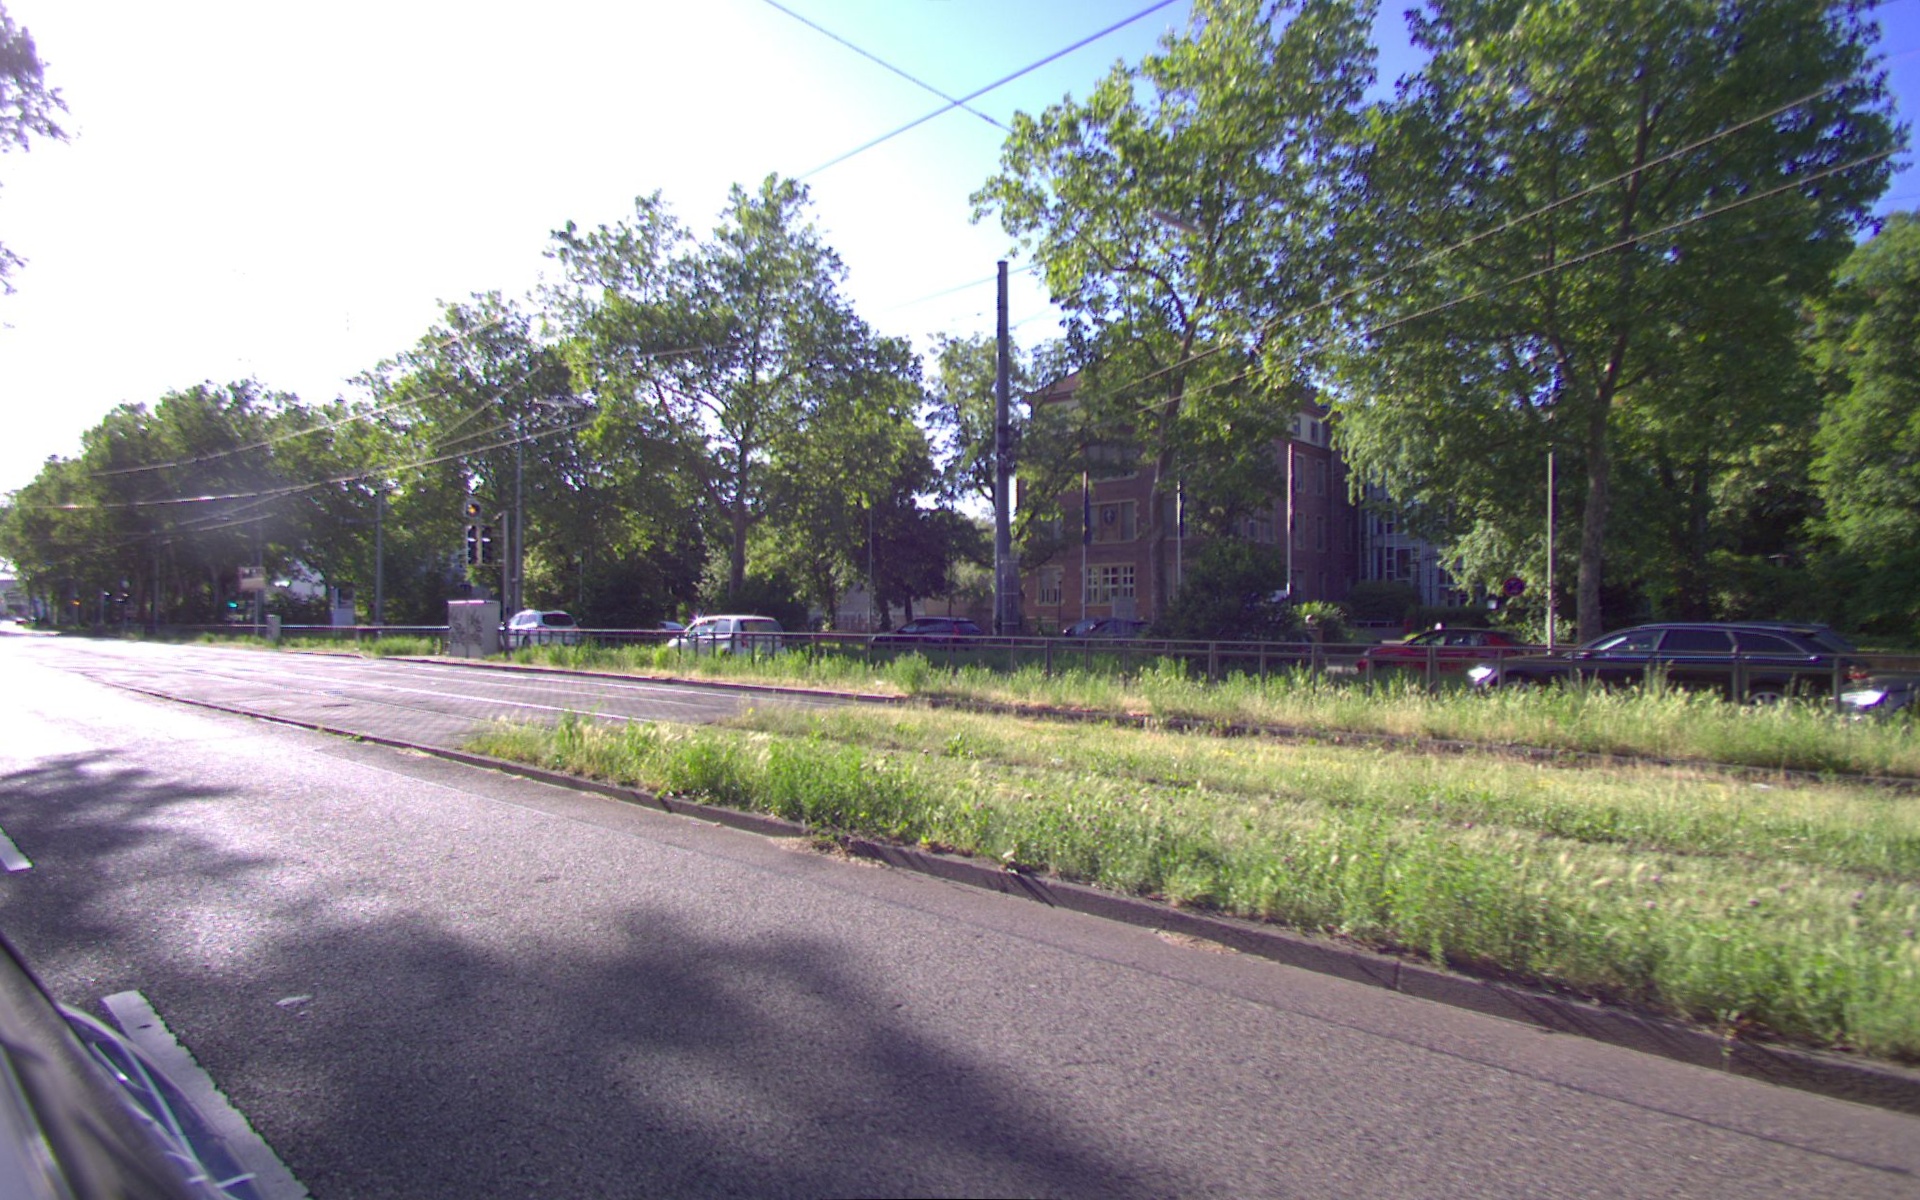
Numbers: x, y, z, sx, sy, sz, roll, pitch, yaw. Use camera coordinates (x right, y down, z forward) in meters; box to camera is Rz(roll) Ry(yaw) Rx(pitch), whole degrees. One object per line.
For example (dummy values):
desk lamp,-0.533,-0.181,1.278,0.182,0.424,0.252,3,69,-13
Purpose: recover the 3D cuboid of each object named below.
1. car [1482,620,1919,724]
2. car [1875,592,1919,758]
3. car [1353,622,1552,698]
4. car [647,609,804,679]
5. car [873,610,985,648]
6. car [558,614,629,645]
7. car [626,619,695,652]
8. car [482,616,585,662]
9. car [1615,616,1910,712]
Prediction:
car,10.021,0.900,13.990,4.707,1.143,1.671,-2,0,44
car,11.086,0.672,9.218,4.047,1.563,1.774,-2,0,43
car,11.985,1.411,24.738,3.997,1.634,1.973,-2,0,40
car,-5.860,1.064,25.112,3.872,1.541,1.826,-2,0,41
car,-1.153,1.015,36.057,4.024,1.232,1.578,-1,1,42
car,-19.342,1.556,53.364,4.347,1.482,1.722,-2,0,43
car,-14.410,1.678,48.609,1.573,1.482,3.824,-2,0,-44
car,-16.689,1.504,39.514,4.596,1.632,1.866,-2,0,42
car,16.269,1.241,20.765,4.510,1.696,1.974,-2,0,40
